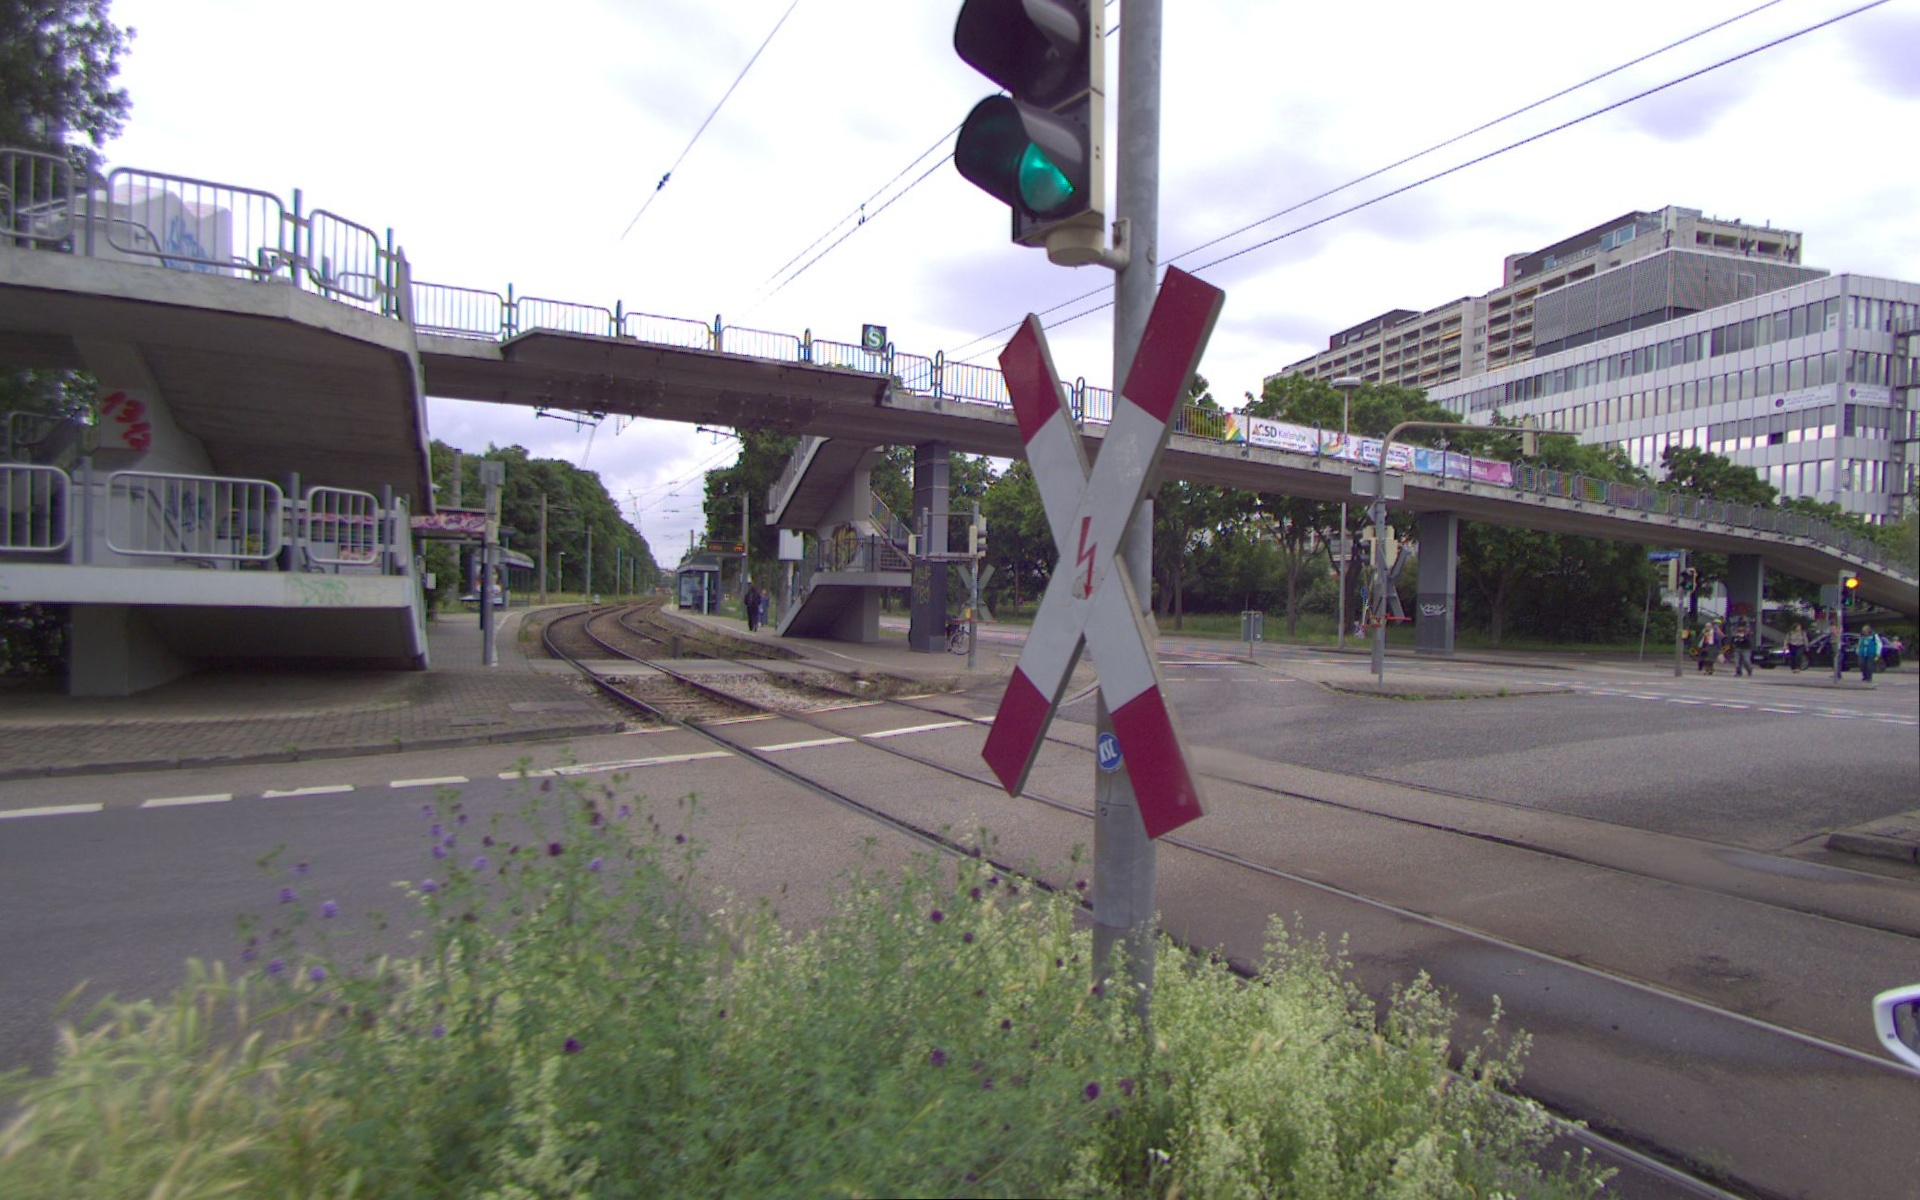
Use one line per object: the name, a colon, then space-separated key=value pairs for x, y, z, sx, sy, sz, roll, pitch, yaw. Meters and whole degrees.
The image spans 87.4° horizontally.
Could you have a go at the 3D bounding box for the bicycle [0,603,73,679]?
bicycle: x=-12.017 y=0.508 z=12.969 sx=0.389 sy=0.897 sz=1.631 roll=1 pitch=0 yaw=-26

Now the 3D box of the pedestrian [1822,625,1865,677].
pedestrian: x=26.966 y=1.548 z=30.658 sx=0.401 sy=1.531 sz=0.909 roll=1 pitch=1 yaw=-41

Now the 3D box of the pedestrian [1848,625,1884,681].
pedestrian: x=27.060 y=1.586 z=30.003 sx=0.483 sy=1.626 sz=0.682 roll=1 pitch=1 yaw=-35

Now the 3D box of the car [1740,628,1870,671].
car: x=32.751 y=1.920 z=38.938 sx=4.324 sy=1.528 sz=1.667 roll=1 pitch=1 yaw=-15

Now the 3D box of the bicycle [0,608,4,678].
bicycle: x=-12.237 y=0.556 z=12.204 sx=0.389 sy=0.897 sz=1.631 roll=1 pitch=0 yaw=-26

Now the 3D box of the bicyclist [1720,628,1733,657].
bicyclist: x=35.809 y=1.979 z=46.920 sx=0.376 sy=1.321 sz=0.278 roll=2 pitch=0 yaw=23

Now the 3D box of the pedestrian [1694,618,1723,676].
pedestrian: x=22.652 y=1.413 z=30.405 sx=0.402 sy=1.714 sz=0.612 roll=1 pitch=1 yaw=-44

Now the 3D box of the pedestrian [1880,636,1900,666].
pedestrian: x=40.856 y=2.223 z=44.128 sx=0.453 sy=1.287 sz=0.497 roll=2 pitch=0 yaw=-28

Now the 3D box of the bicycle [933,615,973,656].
bicycle: x=-0.196 y=0.880 z=25.436 sx=0.368 sy=0.934 sz=2.028 roll=1 pitch=0 yaw=-19

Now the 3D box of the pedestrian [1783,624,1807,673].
pedestrian: x=28.235 y=1.628 z=33.954 sx=0.572 sy=1.600 sz=0.778 roll=2 pitch=0 yaw=41

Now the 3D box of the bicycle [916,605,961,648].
bicycle: x=-0.566 y=0.710 z=27.239 sx=0.345 sy=1.109 sz=1.611 roll=2 pitch=0 yaw=32

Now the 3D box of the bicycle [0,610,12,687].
bicycle: x=-11.245 y=0.577 z=11.262 sx=0.389 sy=0.897 sz=1.631 roll=1 pitch=0 yaw=-26

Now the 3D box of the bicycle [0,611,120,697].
bicycle: x=-10.599 y=0.589 z=11.667 sx=0.387 sy=0.897 sz=1.741 roll=1 pitch=0 yaw=-7

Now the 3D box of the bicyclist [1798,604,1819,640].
bicyclist: x=39.090 y=1.015 z=46.292 sx=0.525 sy=1.666 sz=0.562 roll=2 pitch=0 yaw=-30

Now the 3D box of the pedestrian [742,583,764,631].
pedestrian: x=-7.283 y=0.251 z=35.328 sx=0.594 sy=1.664 sz=0.659 roll=1 pitch=0 yaw=-26

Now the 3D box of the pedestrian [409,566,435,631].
pedestrian: x=-14.211 y=-0.050 z=26.533 sx=0.535 sy=1.687 sz=0.682 roll=1 pitch=1 yaw=-25

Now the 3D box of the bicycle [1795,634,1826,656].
bicycle: x=39.262 y=2.080 z=46.371 sx=1.689 sy=0.961 sz=0.524 roll=2 pitch=0 yaw=-31

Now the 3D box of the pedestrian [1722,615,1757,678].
pedestrian: x=23.254 y=1.378 z=29.951 sx=0.795 sy=1.828 sz=0.631 roll=1 pitch=1 yaw=-40
